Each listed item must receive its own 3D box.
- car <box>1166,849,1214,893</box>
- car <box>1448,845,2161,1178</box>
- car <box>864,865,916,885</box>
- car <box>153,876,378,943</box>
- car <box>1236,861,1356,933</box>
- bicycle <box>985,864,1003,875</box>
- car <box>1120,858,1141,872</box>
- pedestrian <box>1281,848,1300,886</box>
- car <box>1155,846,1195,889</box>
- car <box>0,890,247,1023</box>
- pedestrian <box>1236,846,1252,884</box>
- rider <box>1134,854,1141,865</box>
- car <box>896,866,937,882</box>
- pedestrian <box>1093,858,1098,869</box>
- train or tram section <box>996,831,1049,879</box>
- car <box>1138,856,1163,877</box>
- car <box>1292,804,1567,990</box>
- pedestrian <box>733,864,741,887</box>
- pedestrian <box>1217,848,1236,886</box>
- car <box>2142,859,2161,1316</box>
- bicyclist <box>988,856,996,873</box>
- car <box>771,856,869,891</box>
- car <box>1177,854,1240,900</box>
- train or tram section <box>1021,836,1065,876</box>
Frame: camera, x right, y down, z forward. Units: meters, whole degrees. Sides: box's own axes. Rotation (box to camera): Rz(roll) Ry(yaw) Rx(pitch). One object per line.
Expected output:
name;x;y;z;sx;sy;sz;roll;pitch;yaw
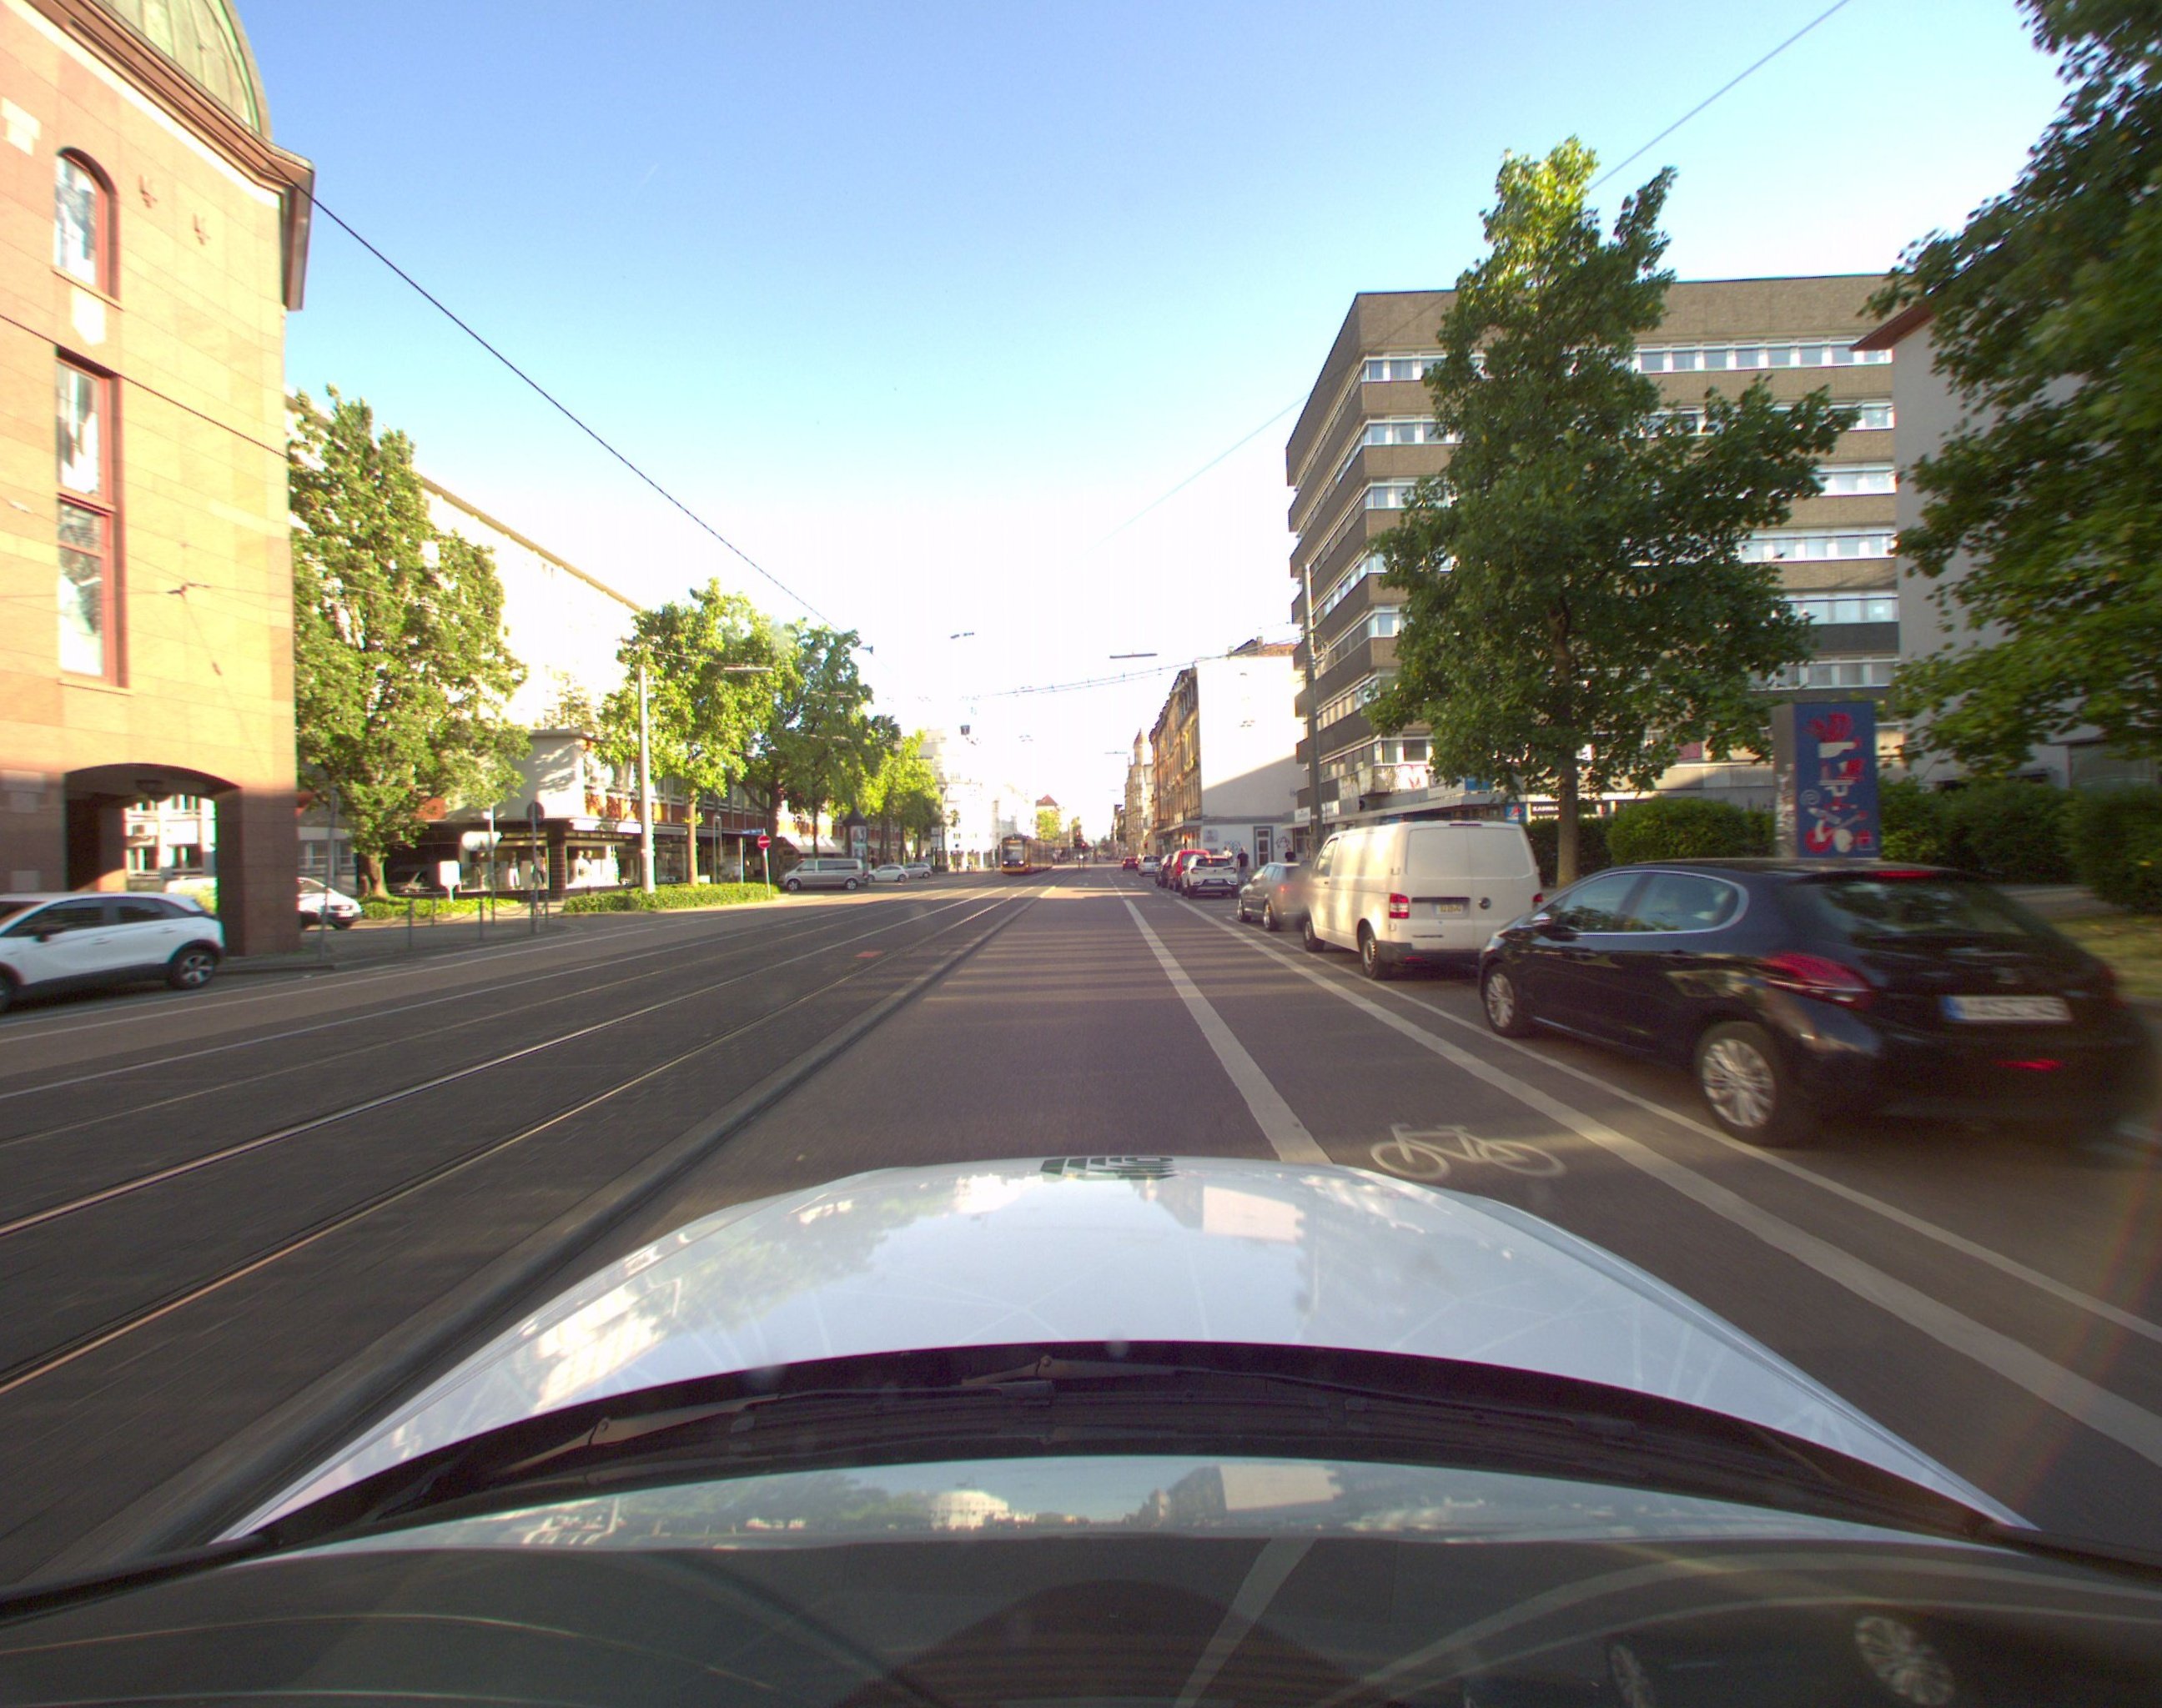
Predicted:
car;4.787;0.744;36.287;1.615;1.813;4.083;1;-1;1
car;4.185;0.715;5.601;1.615;1.474;3.971;0;-1;1
car;-16.187;1.798;68.914;3.893;1.627;1.857;1;-1;-30
car;-26.801;1.782;26.961;4.915;1.993;2.145;0;0;-9
car;4.539;0.849;17.731;1.615;1.370;3.931;1;-1;1
bicycle;-10.469;1.839;98.124;2.008;1.239;0.702;1;-1;7
car;5.434;1.198;89.772;2.058;1.389;4.225;1;-1;1
pedestrian;9.717;0.615;37.800;0.658;1.722;0.835;-1;-1;2
car;4.648;0.645;40.635;1.615;2.007;3.831;1;-1;1
car;-15.029;1.413;11.651;1.864;1.600;4.251;0;0;-2
pedestrian;7.570;0.507;37.803;0.622;1.722;0.628;-1;-1;2
rider;7.894;0.771;113.824;0.706;1.481;0.889;1;-1;13
car;-16.013;1.919;79.411;3.542;1.481;1.566;1;-1;-31
pedestrian;2.776;1.722;153.035;0.916;2.014;0.759;1;-1;1
train or tram section;-5.151;0.147;74.442;2.678;3.960;12.108;1;-1;6
car;5.348;0.934;63.198;1.615;1.555;4.083;1;-1;1
car;4.500;0.502;11.430;1.963;2.014;4.560;-2;-1;2
pedestrian;-20.535;1.281;48.654;0.363;1.343;0.480;2;-1;-19
pedestrian;6.710;0.599;37.686;0.728;1.722;0.835;-1;-1;2
car;4.126;0.709;0.579;1.615;1.432;3.986;0;-1;2
bicyclist;-10.714;1.227;98.173;0.718;2.014;0.702;1;-1;8
car;-15.886;1.222;49.634;5.286;2.043;2.394;2;-3;-31
car;4.646;0.811;30.195;1.717;1.568;4.083;-1;-1;1
train or tram section;-3.903;0.287;86.884;2.678;3.878;12.863;1;-1;6
